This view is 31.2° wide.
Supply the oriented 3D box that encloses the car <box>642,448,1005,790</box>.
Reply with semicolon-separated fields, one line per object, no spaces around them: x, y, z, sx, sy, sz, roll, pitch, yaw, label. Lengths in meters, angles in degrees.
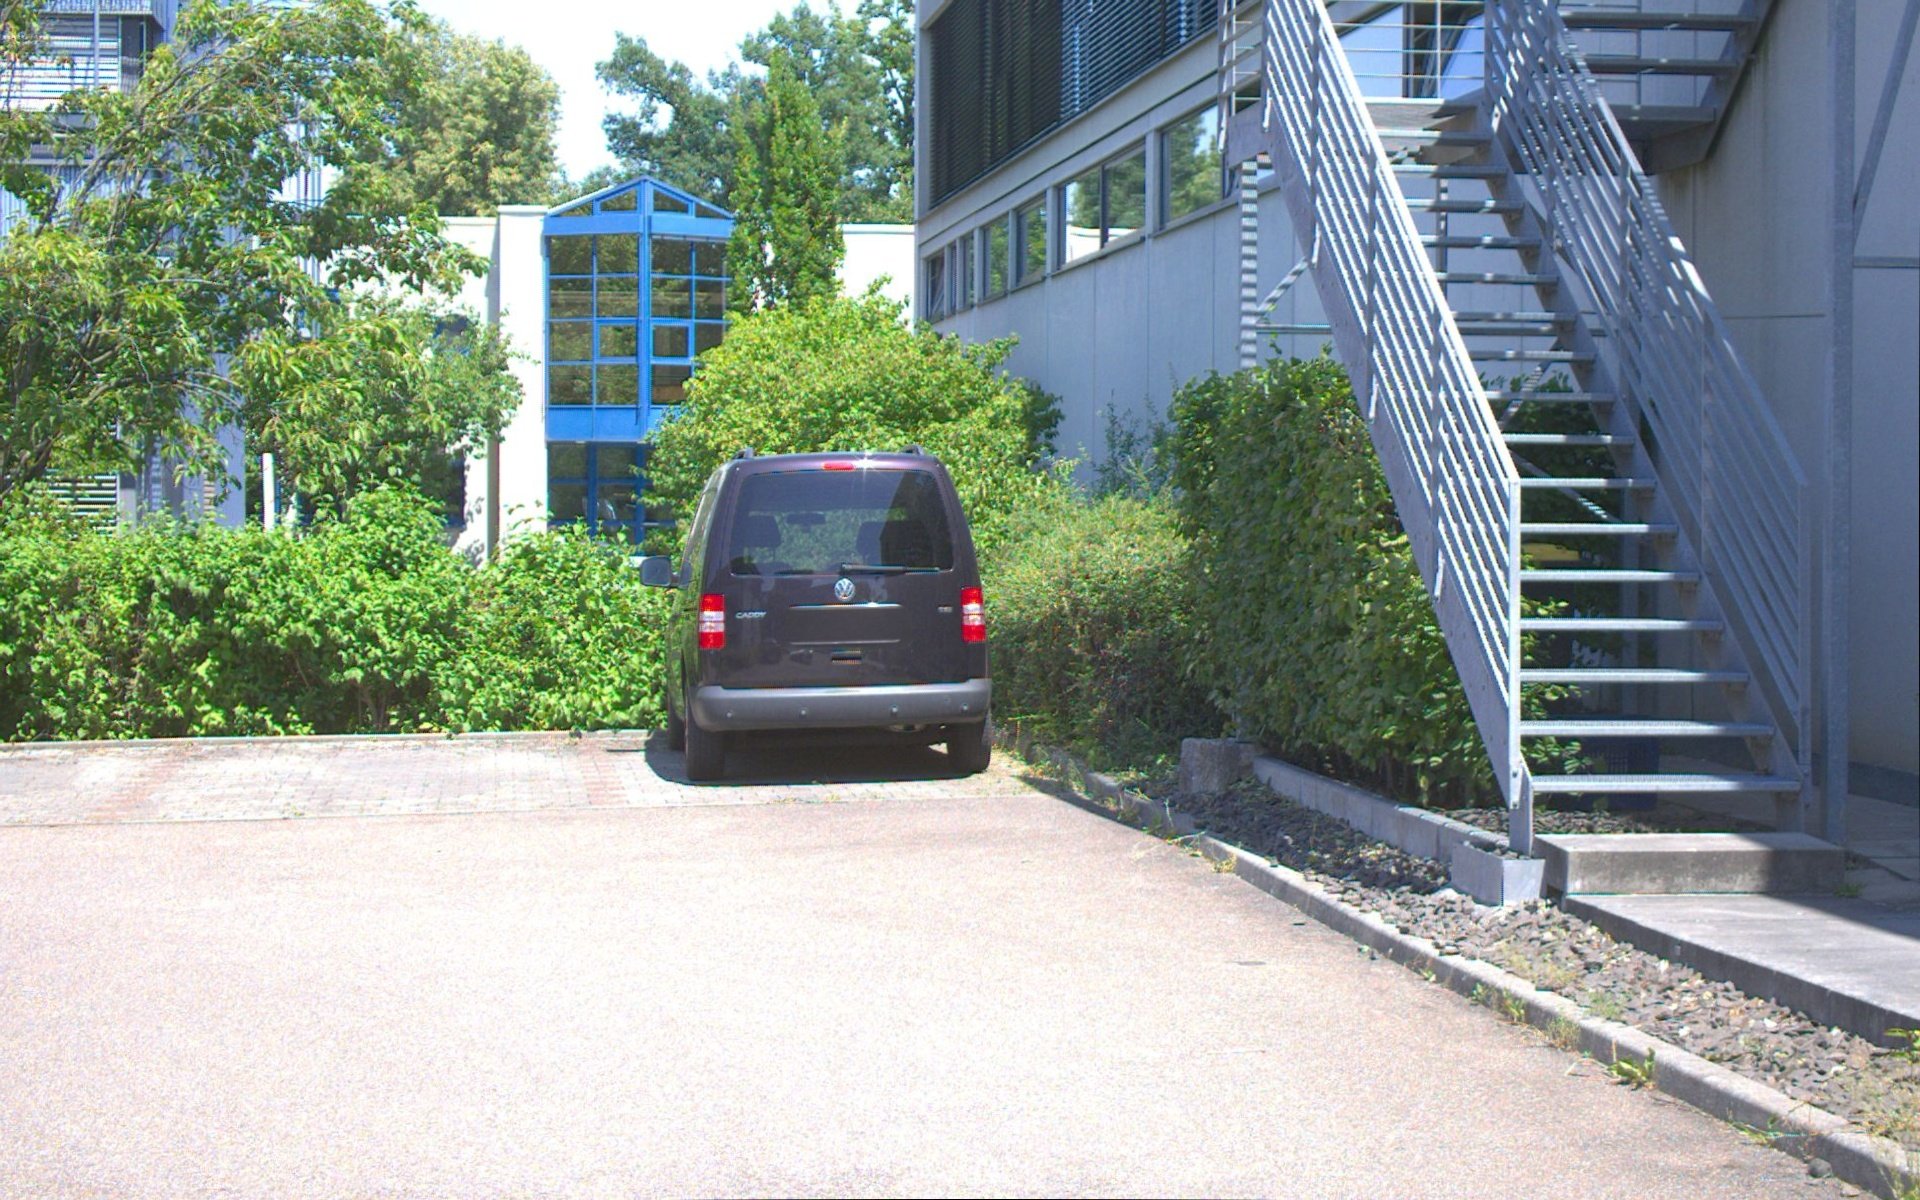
-0.921;0.041;20.724;1.743;1.830;4.001;-1;2;-8;car
